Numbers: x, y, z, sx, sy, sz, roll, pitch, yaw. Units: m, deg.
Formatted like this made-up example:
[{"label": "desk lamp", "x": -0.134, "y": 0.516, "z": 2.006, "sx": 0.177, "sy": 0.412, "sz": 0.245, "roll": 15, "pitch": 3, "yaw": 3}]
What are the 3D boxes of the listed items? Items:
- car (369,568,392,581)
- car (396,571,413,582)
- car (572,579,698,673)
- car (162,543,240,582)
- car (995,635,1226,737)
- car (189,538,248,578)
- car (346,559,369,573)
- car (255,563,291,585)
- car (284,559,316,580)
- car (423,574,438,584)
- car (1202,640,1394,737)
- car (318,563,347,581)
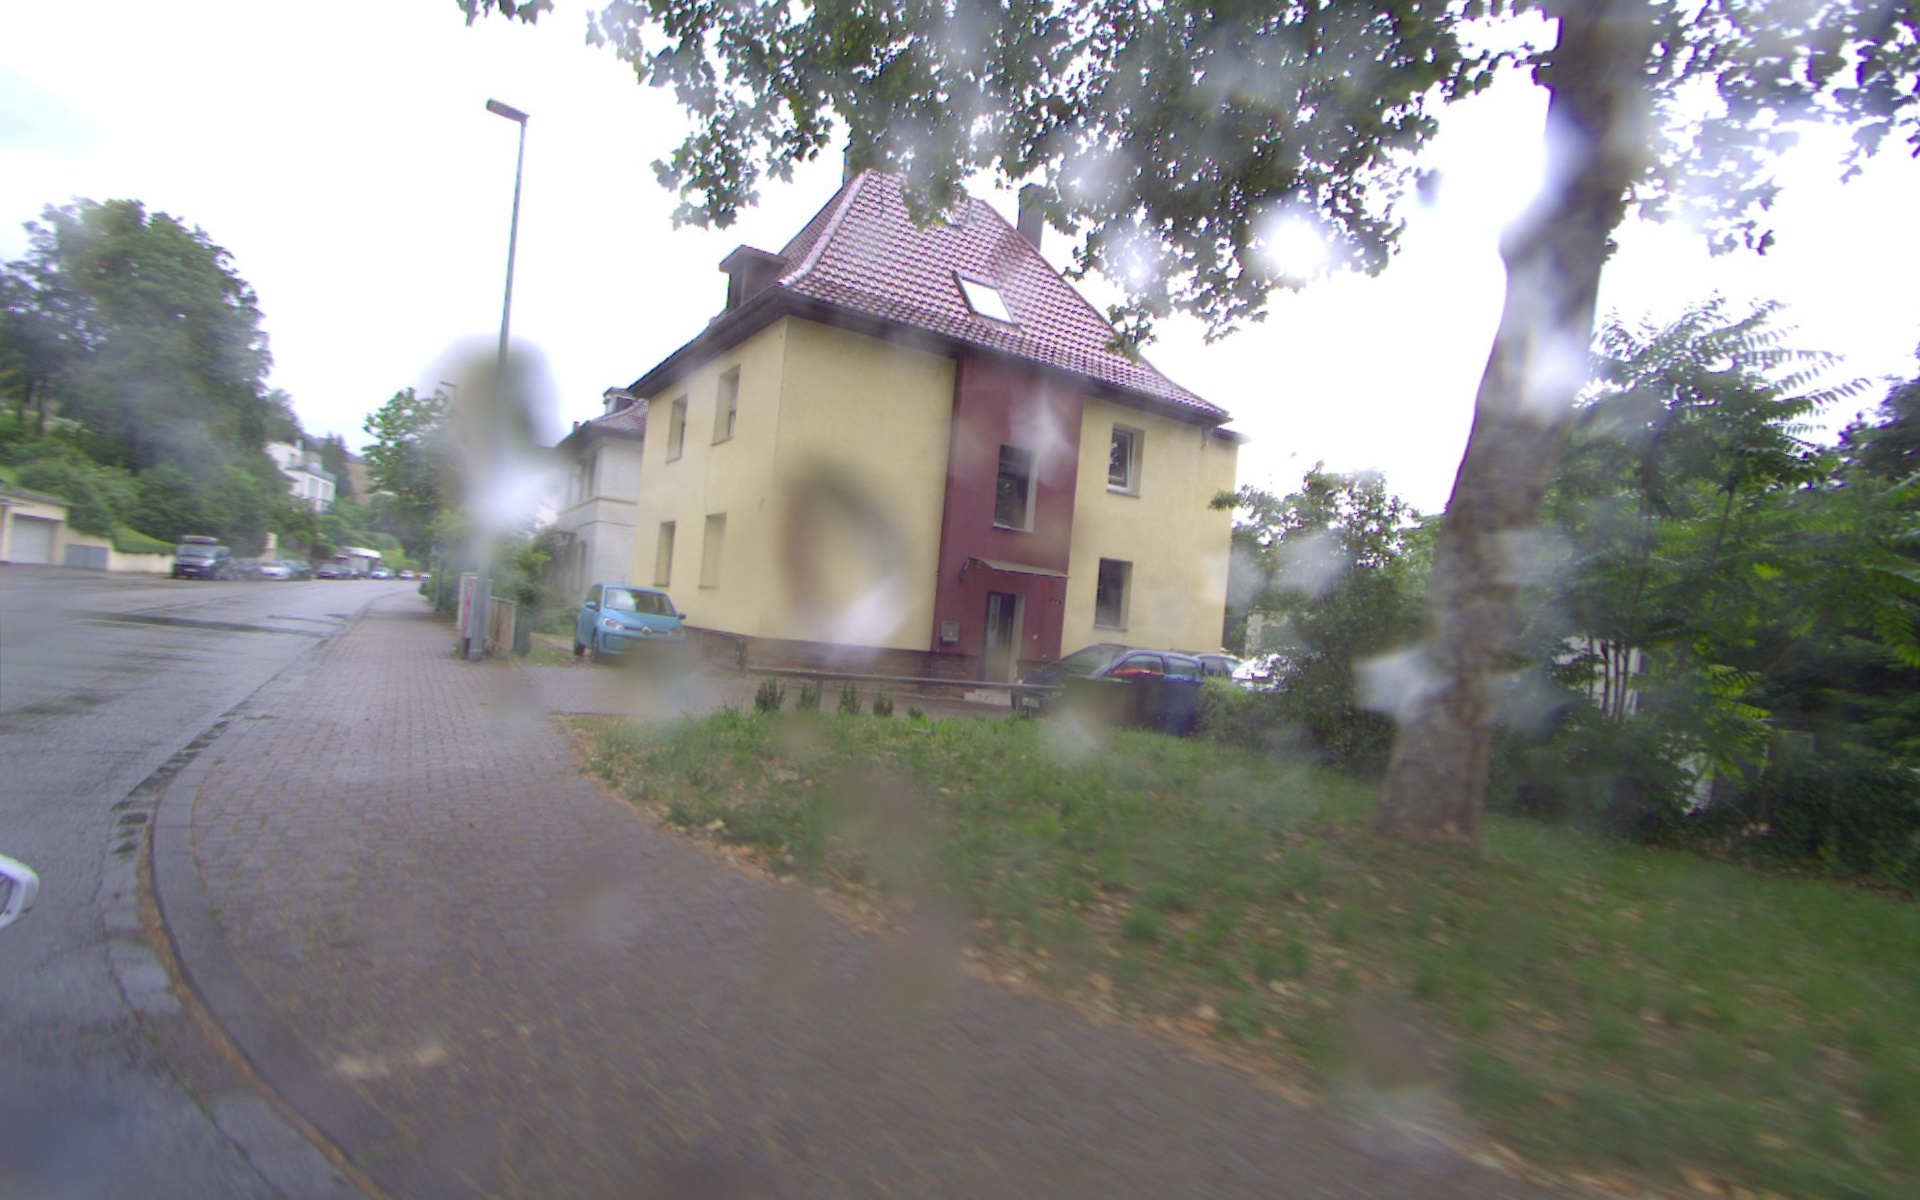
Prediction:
[{"label": "car", "x": -74.703, "y": -3.294, "z": 129.763, "sx": 1.801, "sy": 1.474, "sz": 3.799, "roll": 6, "pitch": 0, "yaw": -20}, {"label": "car", "x": -83.216, "y": -3.544, "z": 150.821, "sx": 1.738, "sy": 1.474, "sz": 3.796, "roll": 6, "pitch": 0, "yaw": -23}, {"label": "car", "x": -6.284, "y": 0.445, "z": 19.216, "sx": 1.631, "sy": 1.465, "sz": 3.525, "roll": 6, "pitch": 0, "yaw": -27}, {"label": "car", "x": -41.232, "y": -2.022, "z": 54.777, "sx": 2.274, "sy": 1.775, "sz": 5.149, "roll": 6, "pitch": 0, "yaw": -25}, {"label": "car", "x": 2.445, "y": 1.399, "z": 16.166, "sx": 3.418, "sy": 1.315, "sz": 1.532, "roll": 6, "pitch": 0, "yaw": -32}, {"label": "car", "x": -43.972, "y": -2.479, "z": 59.716, "sx": 1.975, "sy": 2.039, "sz": 3.975, "roll": 5, "pitch": 0, "yaw": -26}, {"label": "car", "x": -69.861, "y": -3.947, "z": 116.639, "sx": 1.710, "sy": 1.474, "sz": 3.795, "roll": 6, "pitch": 0, "yaw": -24}, {"label": "car", "x": -50.736, "y": -1.924, "z": 74.338, "sx": 1.695, "sy": 1.362, "sz": 3.655, "roll": 6, "pitch": 0, "yaw": -28}, {"label": "car", "x": -54.602, "y": -2.538, "z": 83.284, "sx": 1.716, "sy": 1.570, "sz": 3.790, "roll": 6, "pitch": 0, "yaw": -28}, {"label": "car", "x": -88.933, "y": -3.570, "z": 168.949, "sx": 1.707, "sy": 1.474, "sz": 3.799, "roll": 6, "pitch": 0, "yaw": -20}, {"label": "car", "x": 6.341, "y": 1.674, "z": 18.809, "sx": 3.393, "sy": 1.490, "sz": 1.479, "roll": 6, "pitch": 0, "yaw": -32}, {"label": "car", "x": -62.018, "y": -2.746, "z": 99.446, "sx": 1.696, "sy": 1.570, "sz": 3.796, "roll": 6, "pitch": 0, "yaw": -23}]
